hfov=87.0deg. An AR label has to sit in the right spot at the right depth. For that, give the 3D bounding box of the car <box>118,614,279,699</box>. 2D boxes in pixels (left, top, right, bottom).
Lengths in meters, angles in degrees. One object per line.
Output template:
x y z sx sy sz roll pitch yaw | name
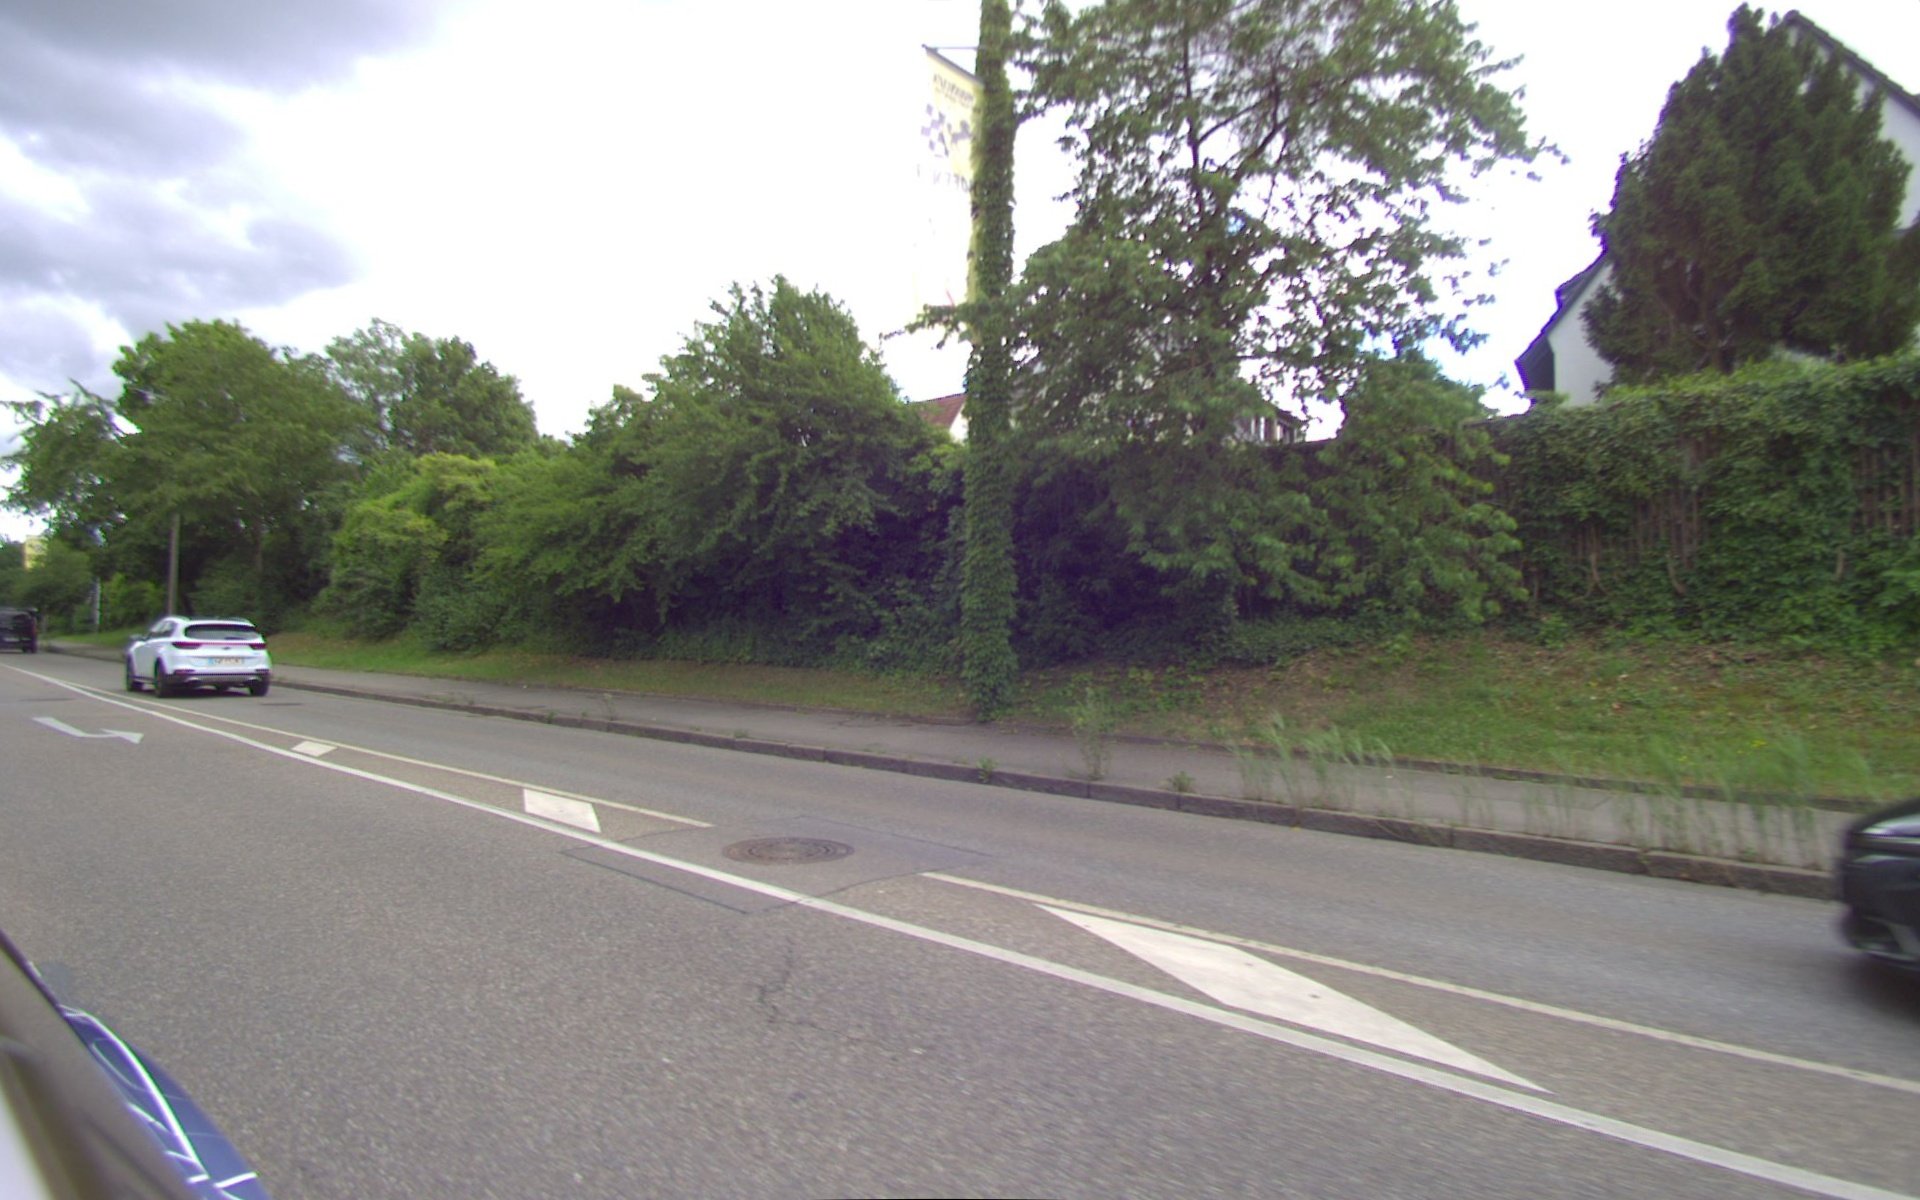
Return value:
-16.205 1.158 21.469 4.156 1.633 1.823 -1 -3 40 | car

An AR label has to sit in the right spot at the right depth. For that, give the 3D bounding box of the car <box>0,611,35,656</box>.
-44.746 1.546 46.988 5.112 2.052 1.973 -1 -3 40 | car
